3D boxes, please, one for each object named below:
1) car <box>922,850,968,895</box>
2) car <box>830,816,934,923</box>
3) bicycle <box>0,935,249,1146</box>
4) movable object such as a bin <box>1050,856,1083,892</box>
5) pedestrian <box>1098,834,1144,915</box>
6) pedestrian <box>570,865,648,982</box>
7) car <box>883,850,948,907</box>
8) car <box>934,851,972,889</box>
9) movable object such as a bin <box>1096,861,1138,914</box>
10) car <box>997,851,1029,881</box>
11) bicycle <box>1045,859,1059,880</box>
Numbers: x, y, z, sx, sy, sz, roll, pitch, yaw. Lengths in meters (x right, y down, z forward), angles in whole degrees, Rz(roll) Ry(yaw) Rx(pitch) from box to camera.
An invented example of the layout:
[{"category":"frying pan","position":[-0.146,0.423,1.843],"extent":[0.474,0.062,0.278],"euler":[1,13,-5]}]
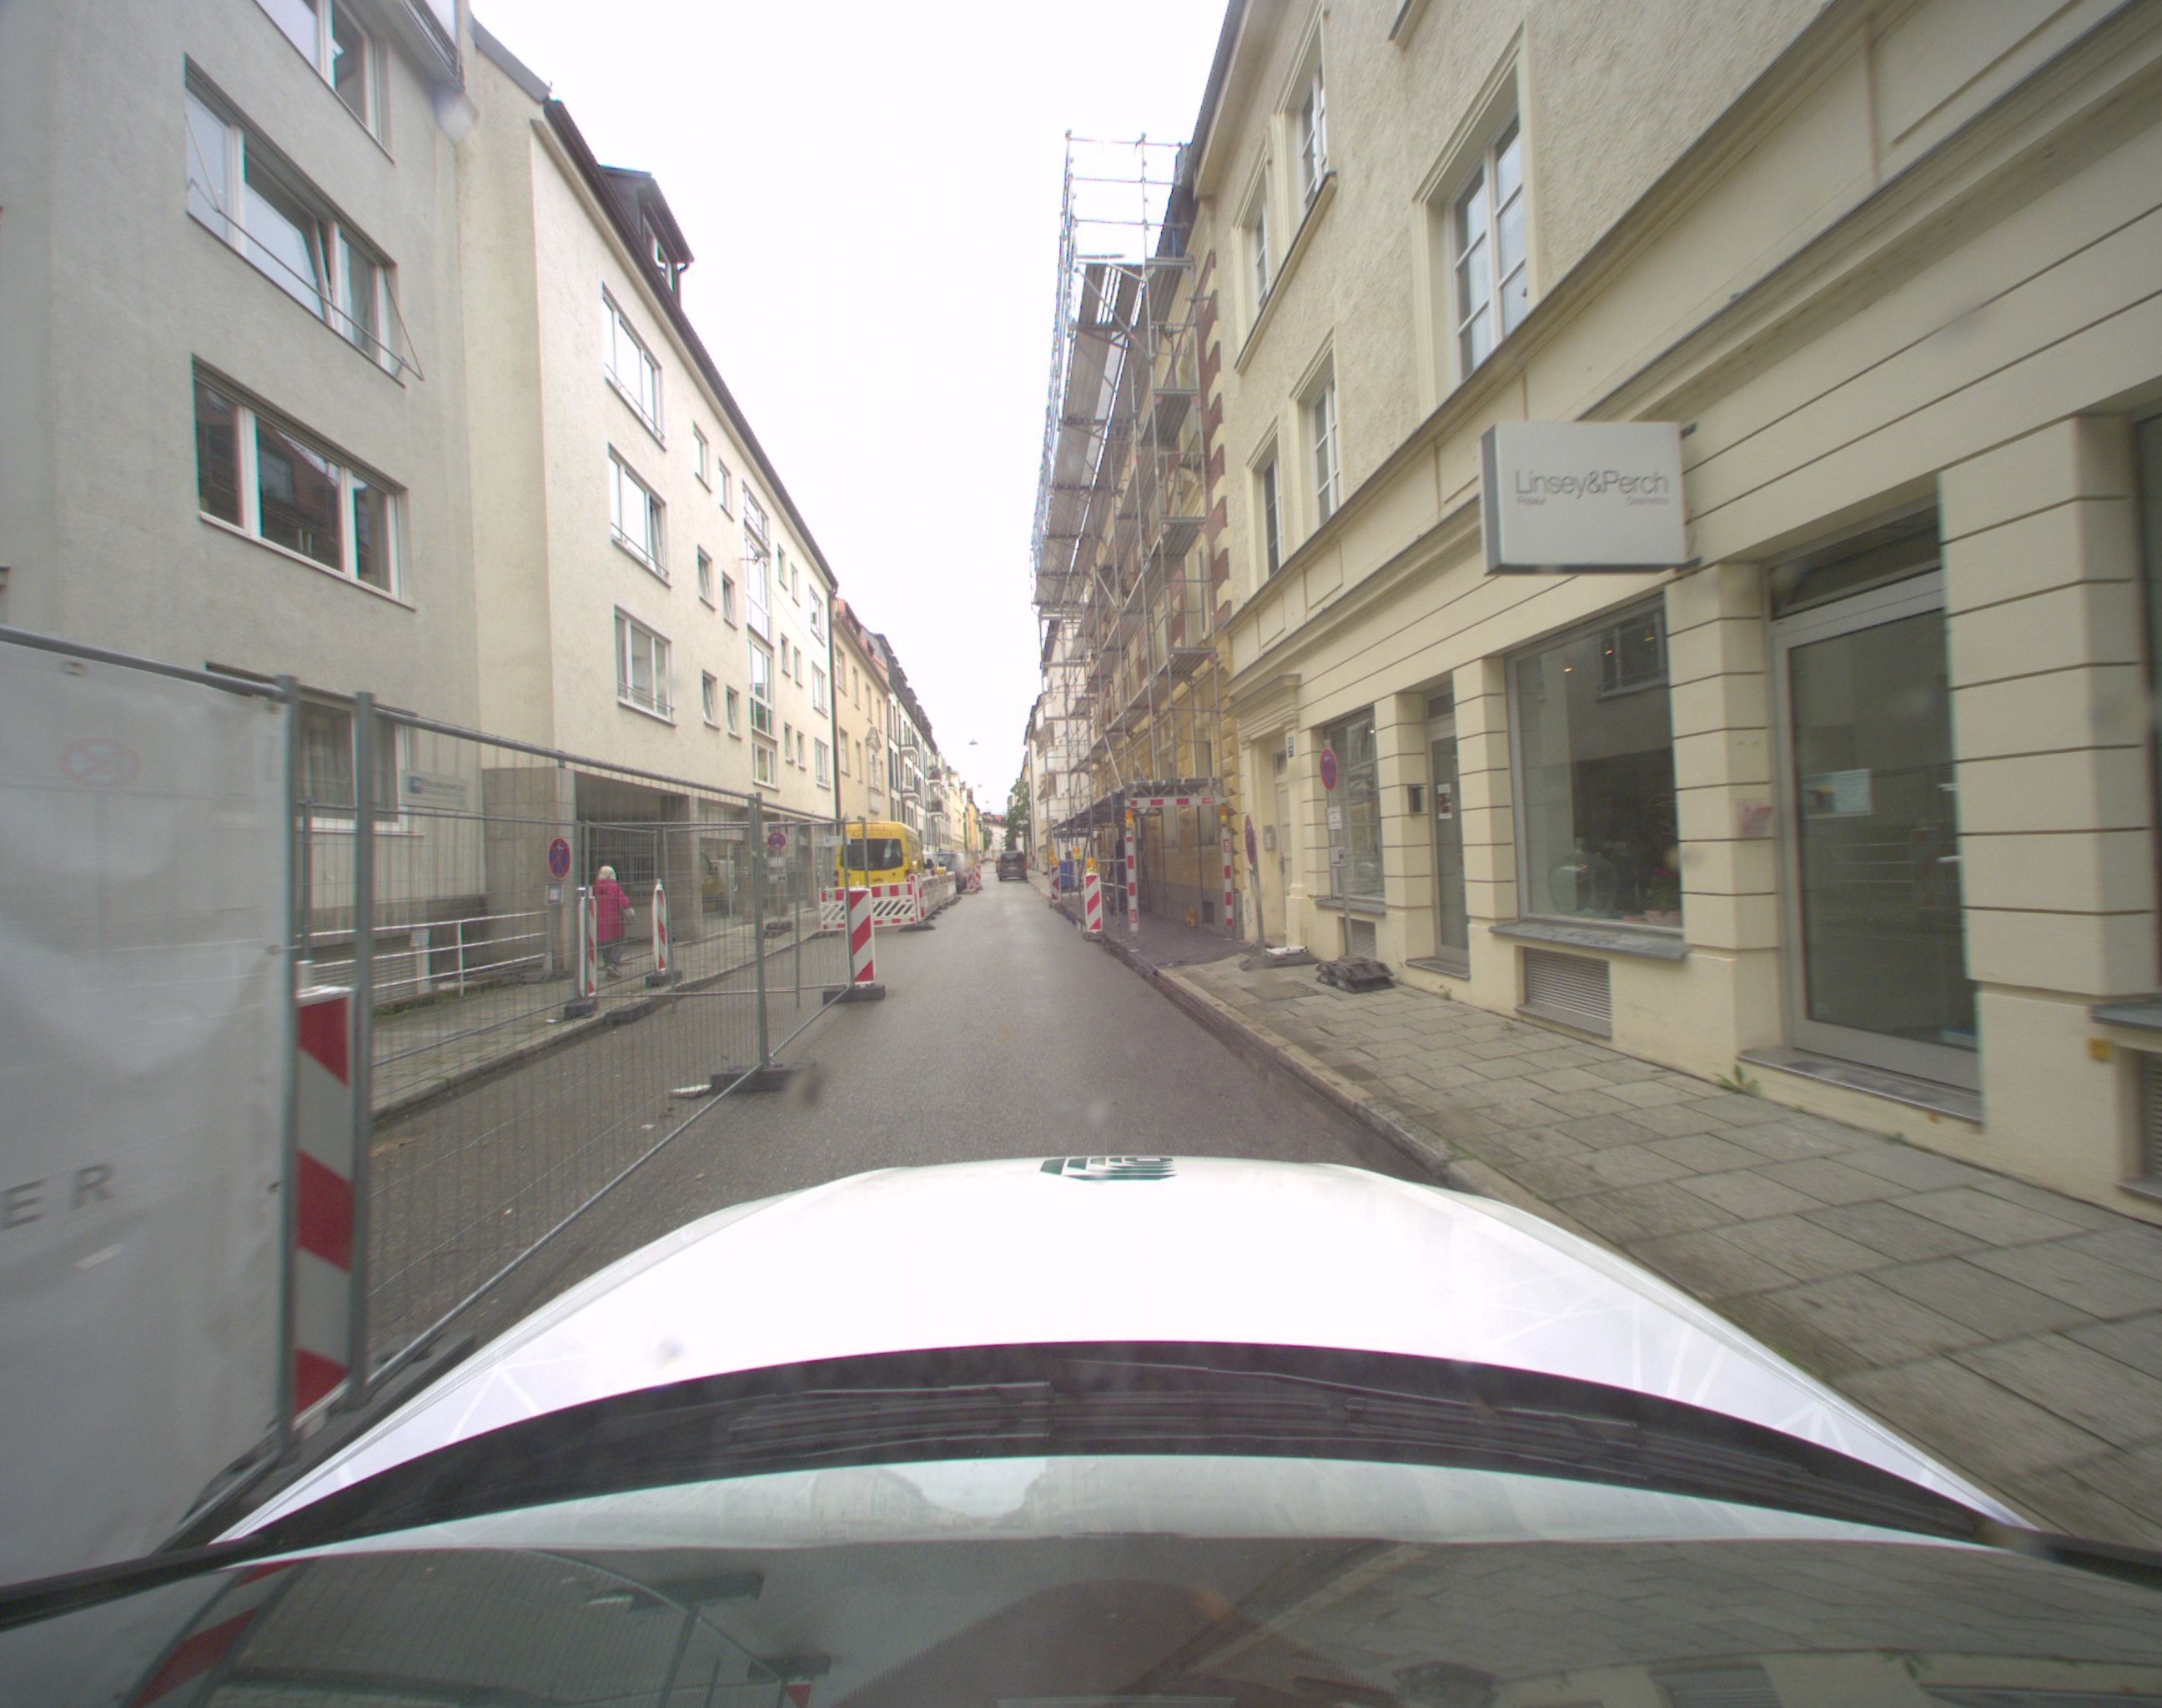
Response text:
[{"category":"car","position":[-6.514,0.868,39.504],"extent":[1.725,1.897,5.497],"euler":[-4,0,-6]},{"category":"car","position":[-5.635,0.405,23.976],"extent":[1.991,2.578,6.721],"euler":[-3,0,-6]},{"category":"bicycle","position":[-6.472,1.152,5.366],"extent":[0.376,1.063,1.594],"euler":[3,-1,-5]},{"category":"movable object such as a bin","position":[-0.608,0.838,34.240],"extent":[1.081,1.346,1.320],"euler":[-6,0,6]},{"category":"pedestrian","position":[0.912,0.470,18.855],"extent":[0.729,1.752,0.986],"euler":[-6,0,-7]},{"category":"pedestrian","position":[-6.519,0.935,11.284],"extent":[0.636,1.532,0.746],"euler":[-1,0,-4]},{"category":"car","position":[-6.258,0.887,31.241],"extent":[1.916,1.897,4.778],"euler":[-4,0,-7]},{"category":"car","position":[-7.168,0.881,45.507],"extent":[1.904,1.897,5.072],"euler":[-3,0,-9]},{"category":"movable object such as a bin","position":[0.860,0.790,19.561],"extent":[0.729,1.140,0.986],"euler":[-7,0,-7]},{"category":"car","position":[-4.721,0.772,56.210],"extent":[1.991,1.932,4.649],"euler":[-1,0,-7]},{"category":"bicycle","position":[-1.783,0.934,49.688],"extent":[0.637,1.153,1.912],"euler":[-5,1,-5]}]
